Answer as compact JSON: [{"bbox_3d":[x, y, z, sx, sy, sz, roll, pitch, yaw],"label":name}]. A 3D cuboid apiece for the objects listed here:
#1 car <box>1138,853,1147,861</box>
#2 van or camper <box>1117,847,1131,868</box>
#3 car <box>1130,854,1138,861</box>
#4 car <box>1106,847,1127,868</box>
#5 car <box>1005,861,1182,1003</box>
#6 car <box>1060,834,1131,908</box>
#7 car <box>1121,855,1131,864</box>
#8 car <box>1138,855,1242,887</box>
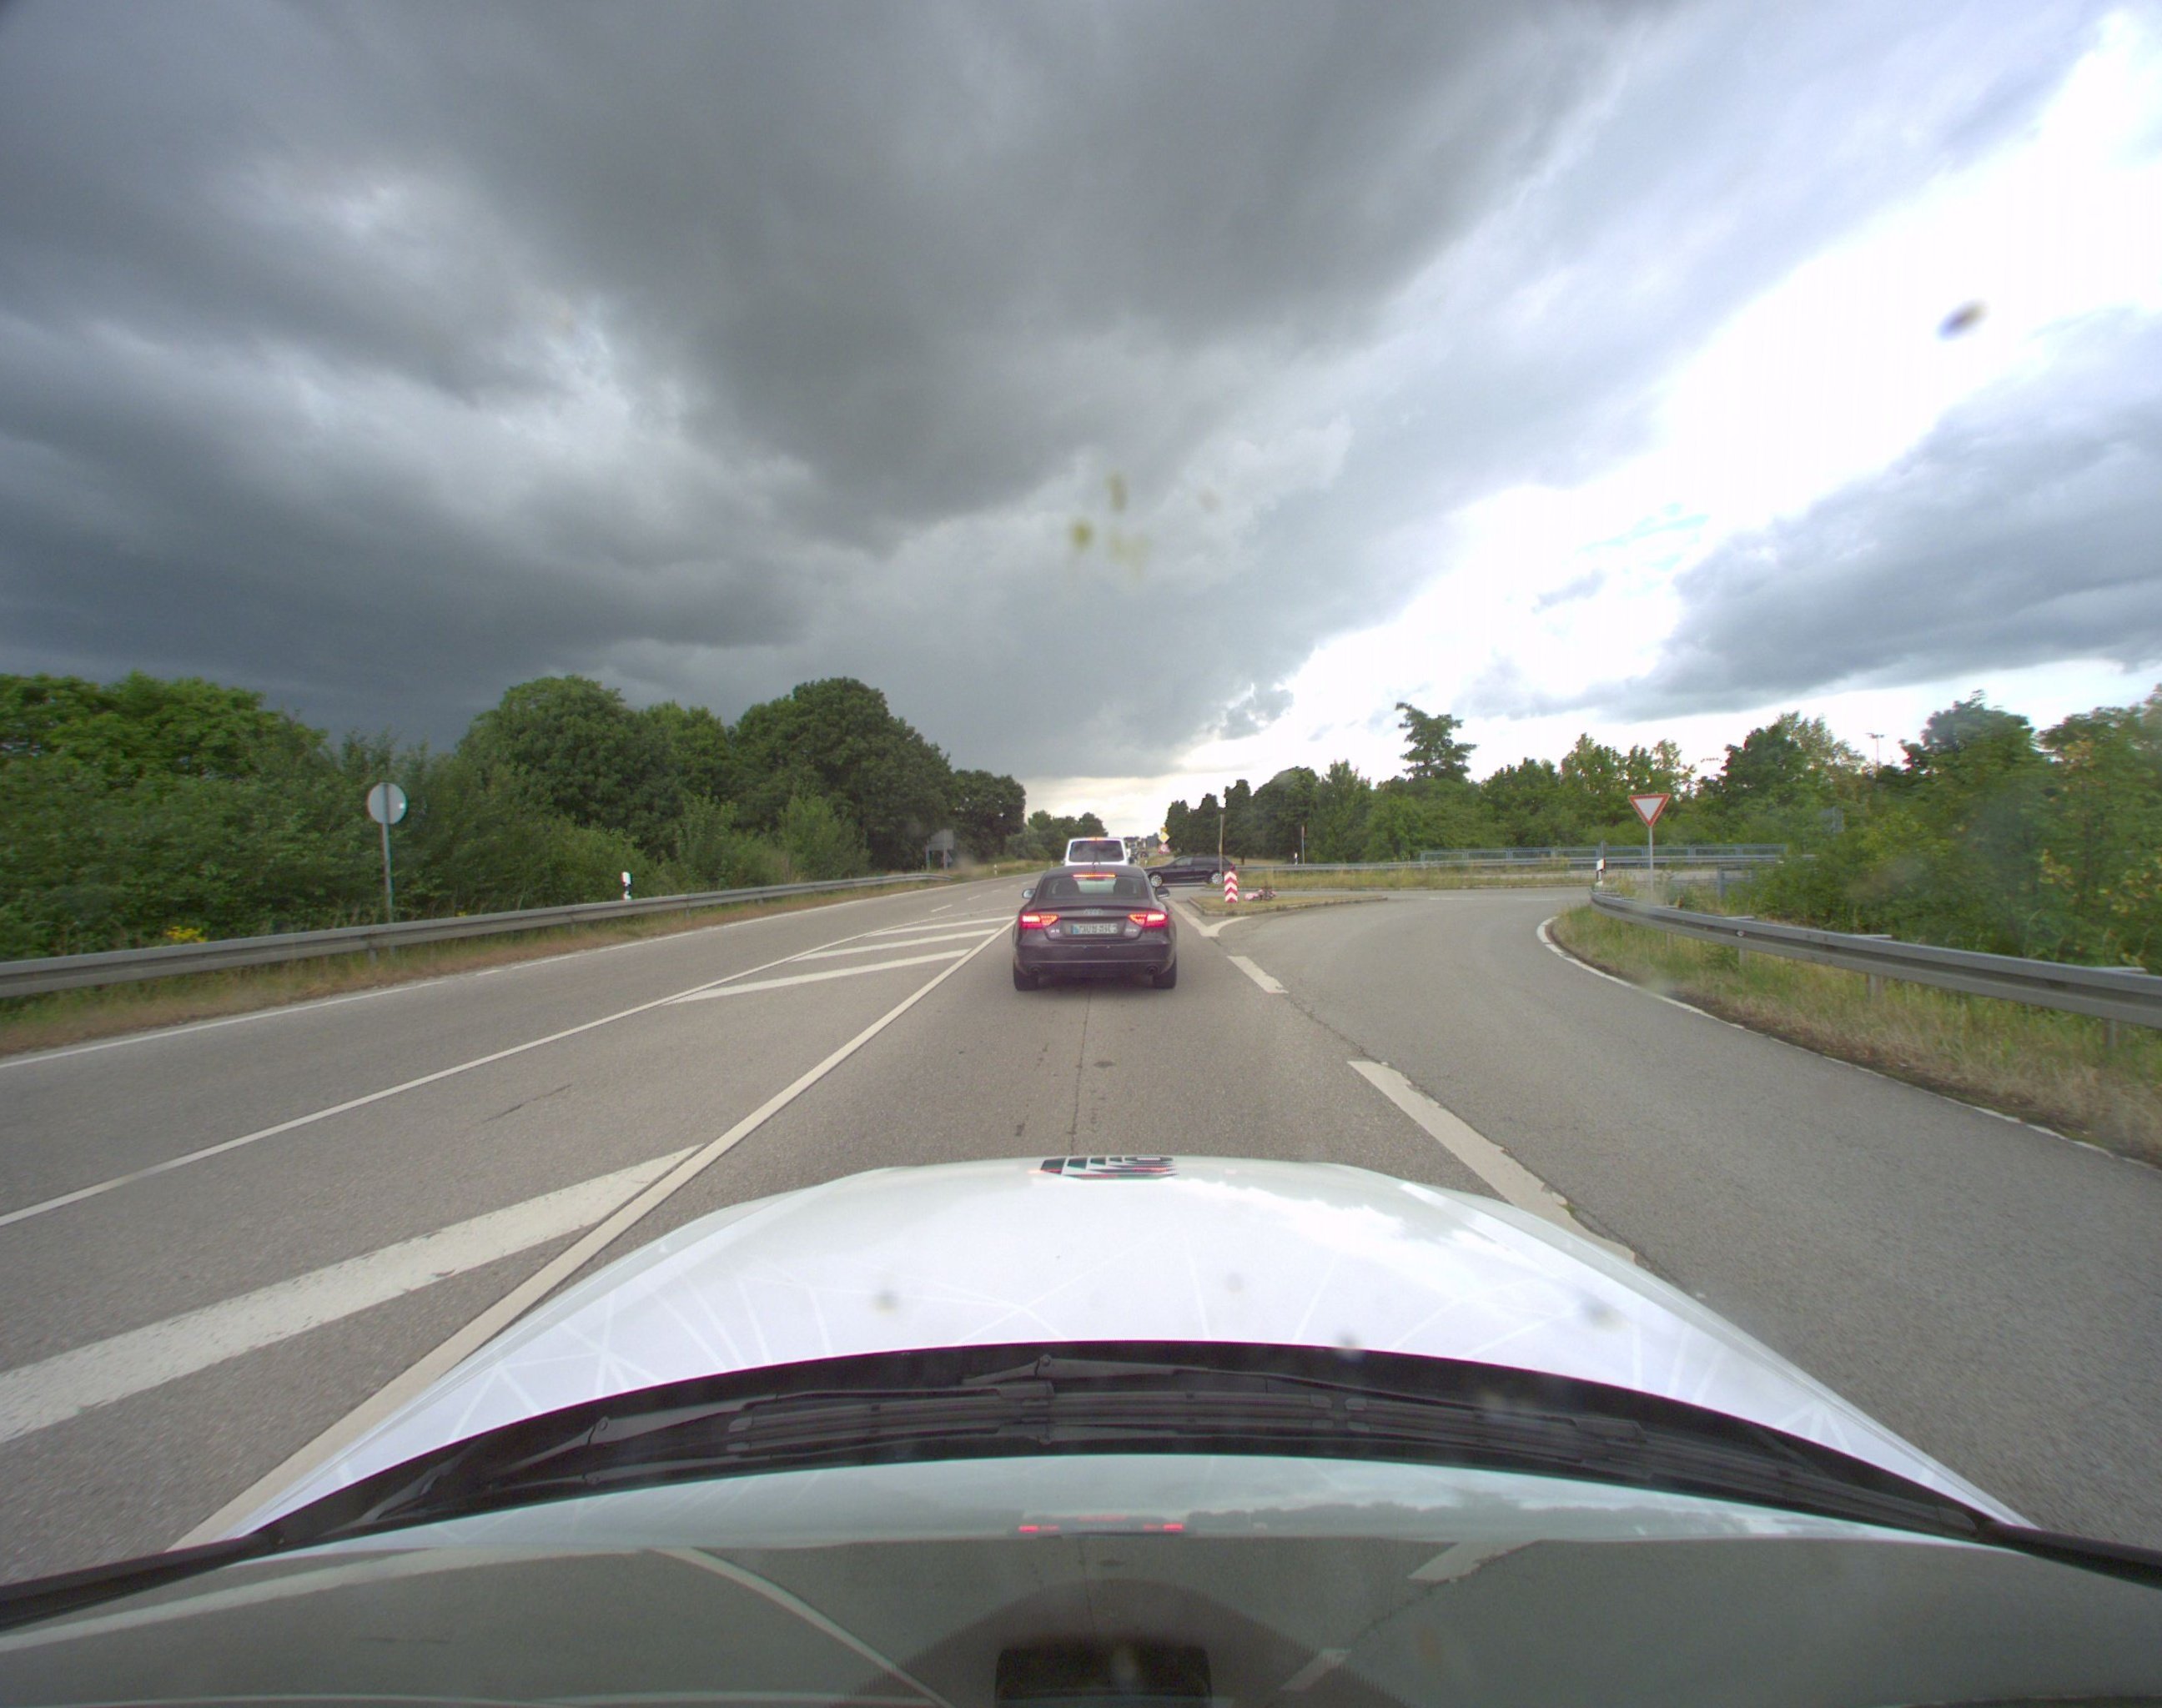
[{"bbox_3d":[15.225,0.685,203.078,1.986,2.013,4.001,-1,0,1],"label":"car"},{"bbox_3d":[7.545,0.630,142.459,2.330,3.481,5.724,-1,0,4],"label":"van or camper"},{"bbox_3d":[11.376,0.835,174.528,1.712,1.451,4.003,0,0,3],"label":"car"},{"bbox_3d":[3.818,0.378,86.760,1.984,2.088,4.005,-2,0,5],"label":"car"},{"bbox_3d":[0.188,0.809,10.251,1.776,1.376,4.002,-1,0,2],"label":"car"},{"bbox_3d":[0.443,0.435,23.077,1.832,1.882,4.002,-1,0,2],"label":"car"},{"bbox_3d":[7.027,0.817,127.542,1.251,1.353,3.473,-2,0,8],"label":"car"},{"bbox_3d":[4.961,0.774,37.591,4.580,1.374,1.826,-1,0,0],"label":"car"}]
